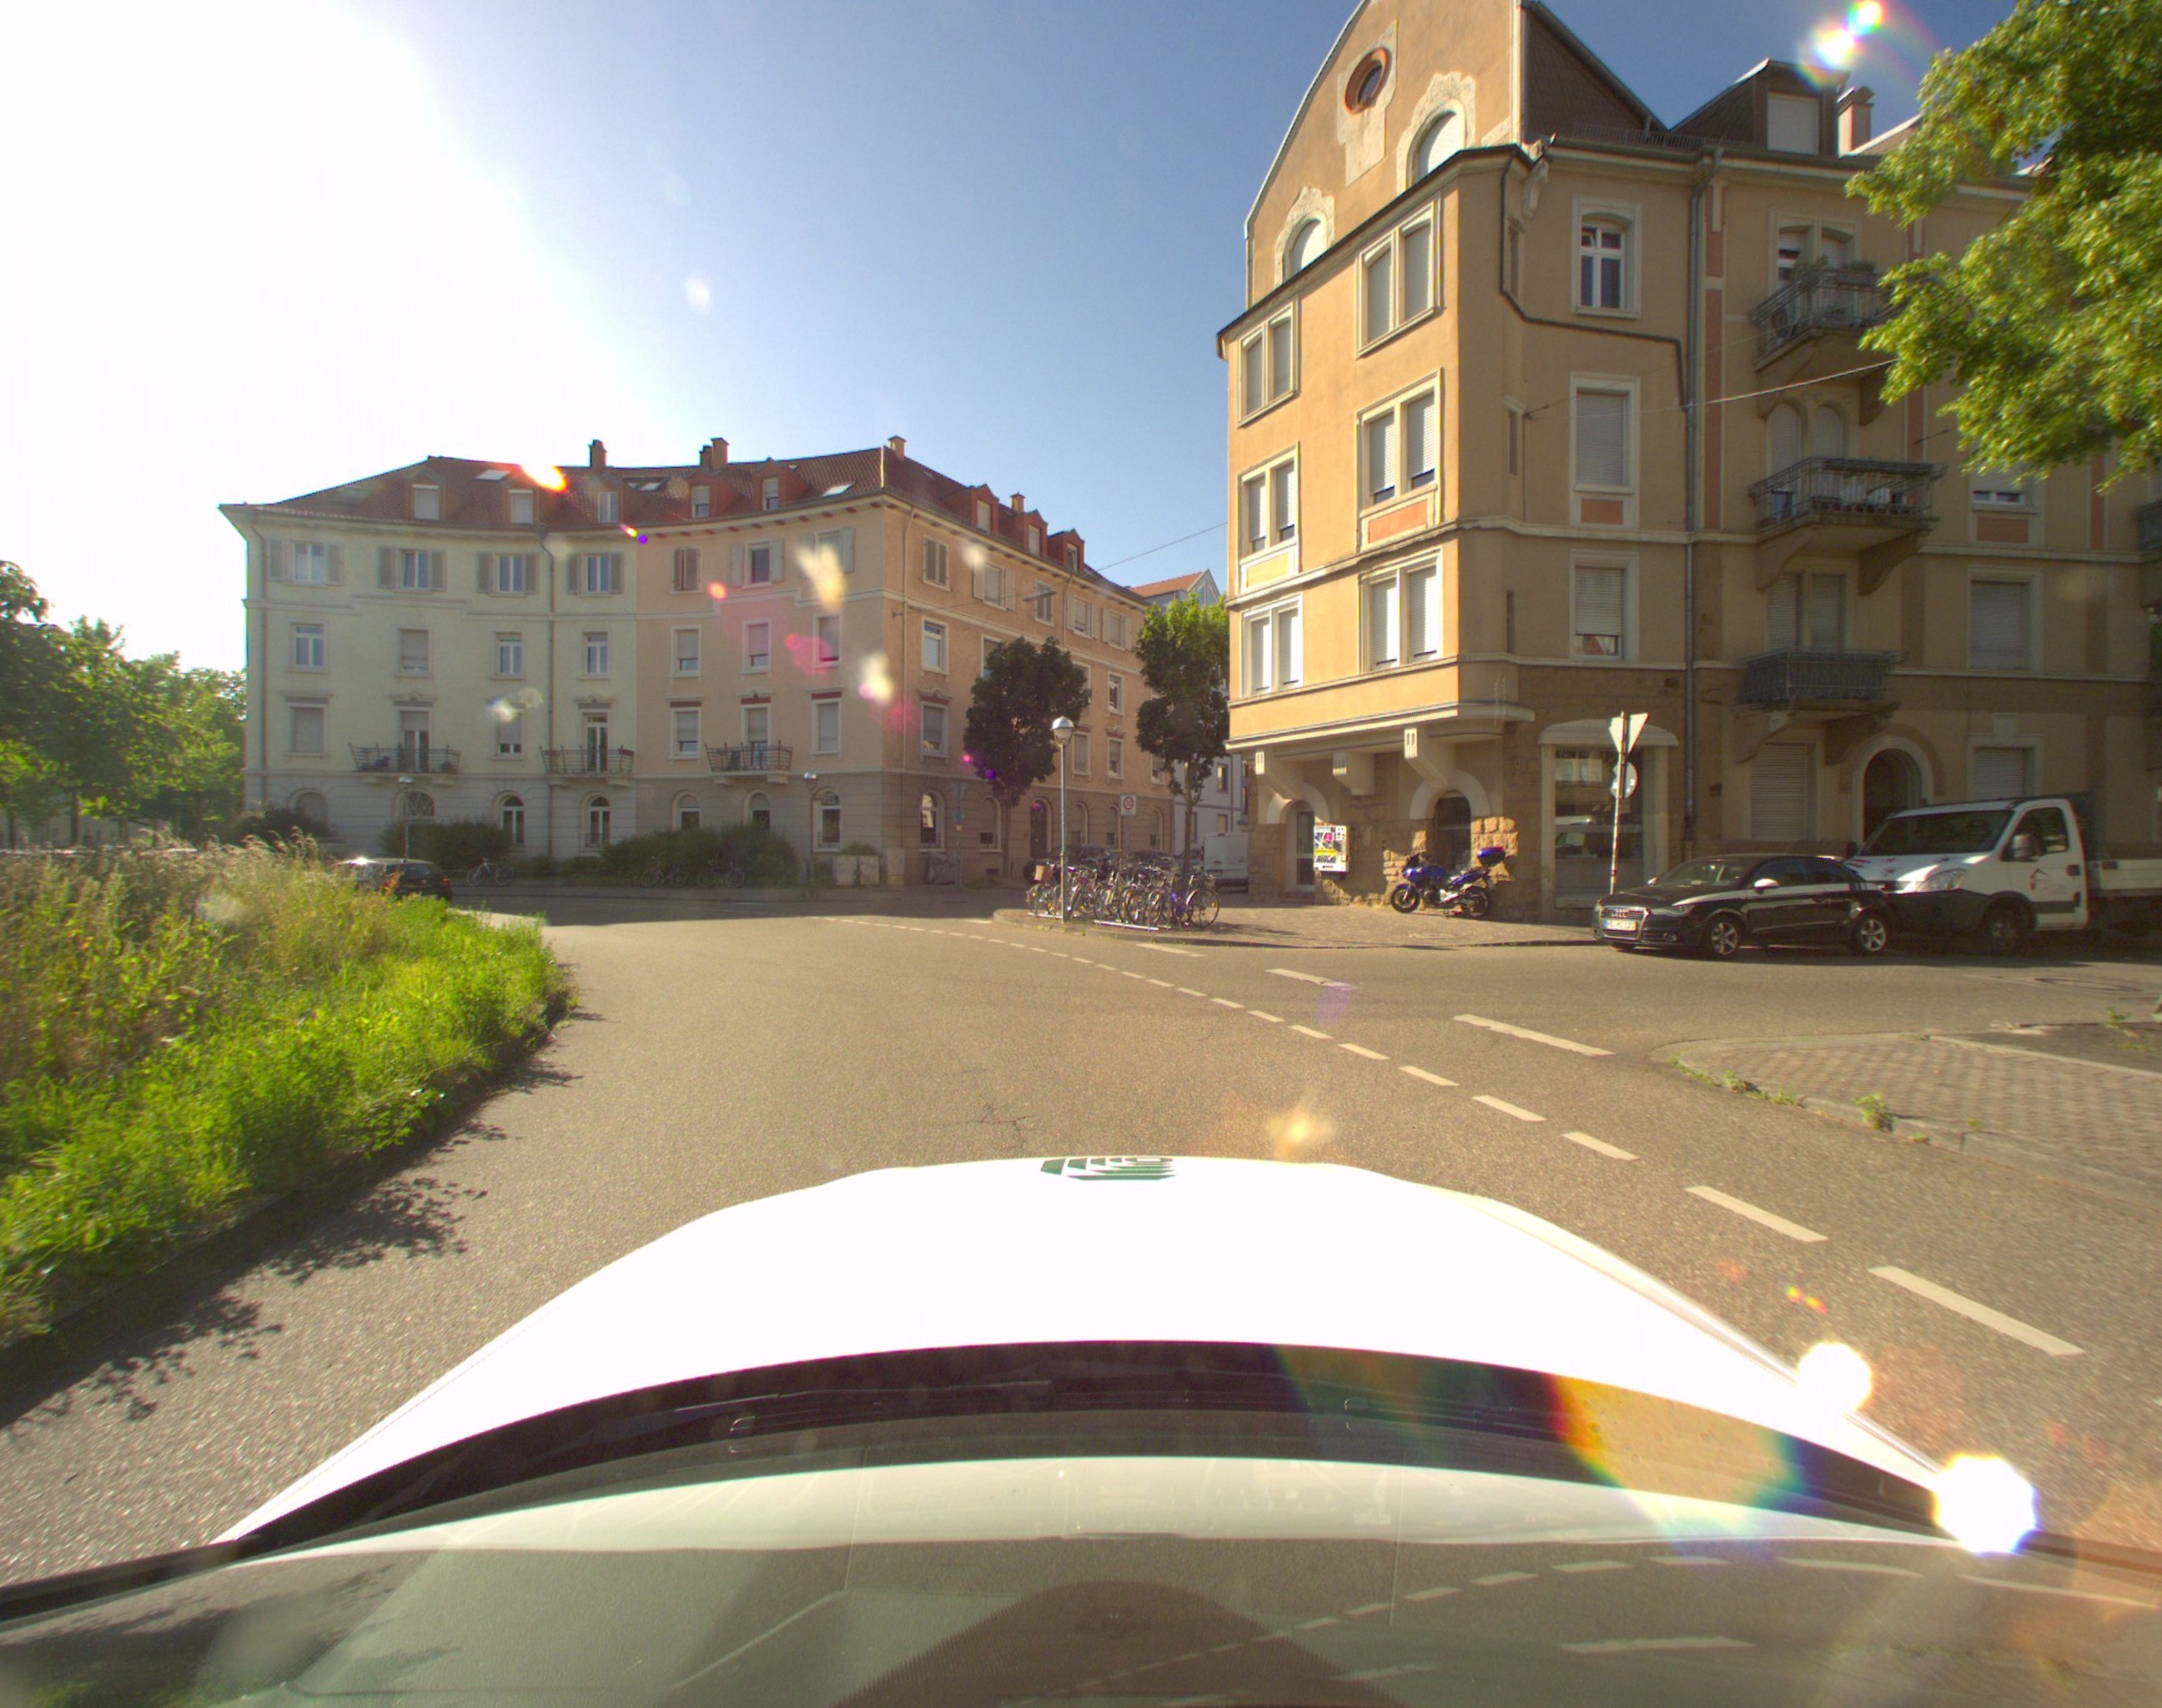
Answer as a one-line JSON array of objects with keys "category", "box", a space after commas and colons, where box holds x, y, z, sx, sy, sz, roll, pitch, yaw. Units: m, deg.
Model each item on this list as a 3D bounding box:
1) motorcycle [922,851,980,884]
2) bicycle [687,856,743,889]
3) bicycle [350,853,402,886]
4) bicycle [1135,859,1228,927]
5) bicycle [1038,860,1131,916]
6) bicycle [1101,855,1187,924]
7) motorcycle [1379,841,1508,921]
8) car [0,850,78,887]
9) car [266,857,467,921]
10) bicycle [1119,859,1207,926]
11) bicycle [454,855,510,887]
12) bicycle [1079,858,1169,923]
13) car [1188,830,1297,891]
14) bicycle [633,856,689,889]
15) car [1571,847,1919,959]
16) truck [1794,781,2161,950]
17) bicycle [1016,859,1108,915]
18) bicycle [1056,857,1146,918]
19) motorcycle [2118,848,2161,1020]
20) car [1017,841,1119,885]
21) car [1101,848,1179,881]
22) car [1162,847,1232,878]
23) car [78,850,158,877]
[{"category": "motorcycle", "box": [-5.067, 0.503, 31.805, 0.931, 1.220, 2.167, 2, 2, 39]}, {"category": "bicycle", "box": [-12.489, 0.632, 27.784, 1.673, 1.088, 0.503, 0, 2, 5]}, {"category": "bicycle", "box": [-25.796, 0.553, 29.826, 0.497, 1.107, 1.681, 0, 1, -3]}, {"category": "bicycle", "box": [1.771, 0.654, 14.238, 1.726, 1.123, 0.478, 0, 0, -35]}, {"category": "bicycle", "box": [0.087, 0.672, 16.657, 1.884, 1.090, 0.531, 0, 0, -29]}, {"category": "bicycle", "box": [1.176, 0.626, 14.924, 1.704, 1.191, 0.446, 0, 0, -37]}, {"category": "motorcycle", "box": [7.046, 0.474, 15.956, 0.703, 1.411, 2.226, -1, 3, -37]}, {"category": "car", "box": [-42.454, 0.558, 32.653, 1.808, 1.413, 3.957, 0, 0, -35]}, {"category": "car", "box": [-17.533, 0.810, 20.032, 3.956, 1.419, 1.879, 0, 1, 17]}, {"category": "bicycle", "box": [1.482, 0.655, 14.594, 1.704, 1.123, 0.478, 0, 0, -37]}, {"category": "bicycle", "box": [-21.064, 0.607, 28.656, 1.672, 1.088, 0.504, 0, 2, 7]}, {"category": "bicycle", "box": [0.828, 0.650, 15.353, 1.704, 1.145, 0.610, 0, 0, -37]}, {"category": "car", "box": [5.620, 0.204, 27.841, 2.114, 1.909, 4.590, 0, 0, 33]}, {"category": "bicycle", "box": [-14.501, 0.640, 28.124, 1.673, 1.088, 0.503, 0, 2, 5]}, {"category": "car", "box": [9.237, 0.627, 11.457, 3.910, 1.390, 1.682, 0, -1, -11]}, {"category": "truck", "box": [14.905, 0.144, 12.473, 6.592, 2.292, 2.134, 0, -1, -7]}, {"category": "bicycle", "box": [-0.392, 0.680, 17.249, 1.875, 1.130, 0.692, 0, -1, -35]}, {"category": "bicycle", "box": [0.401, 0.636, 16.129, 1.701, 1.145, 0.632, 0, 0, -29]}, {"category": "motorcycle", "box": [8.324, 0.615, 5.459, 0.535, 1.270, 1.711, -1, 1, -1]}, {"category": "car", "box": [-0.446, 0.318, 32.578, 1.884, 1.642, 4.375, 0, 0, 35]}, {"category": "car", "box": [2.688, 0.442, 36.583, 1.680, 1.412, 3.686, 0, 0, 39]}, {"category": "car", "box": [5.895, 0.414, 40.976, 1.680, 1.486, 4.028, 0, 0, 39]}, {"category": "car", "box": [-48.507, 0.440, 41.109, 1.808, 1.255, 3.677, -1, 1, -37]}]
